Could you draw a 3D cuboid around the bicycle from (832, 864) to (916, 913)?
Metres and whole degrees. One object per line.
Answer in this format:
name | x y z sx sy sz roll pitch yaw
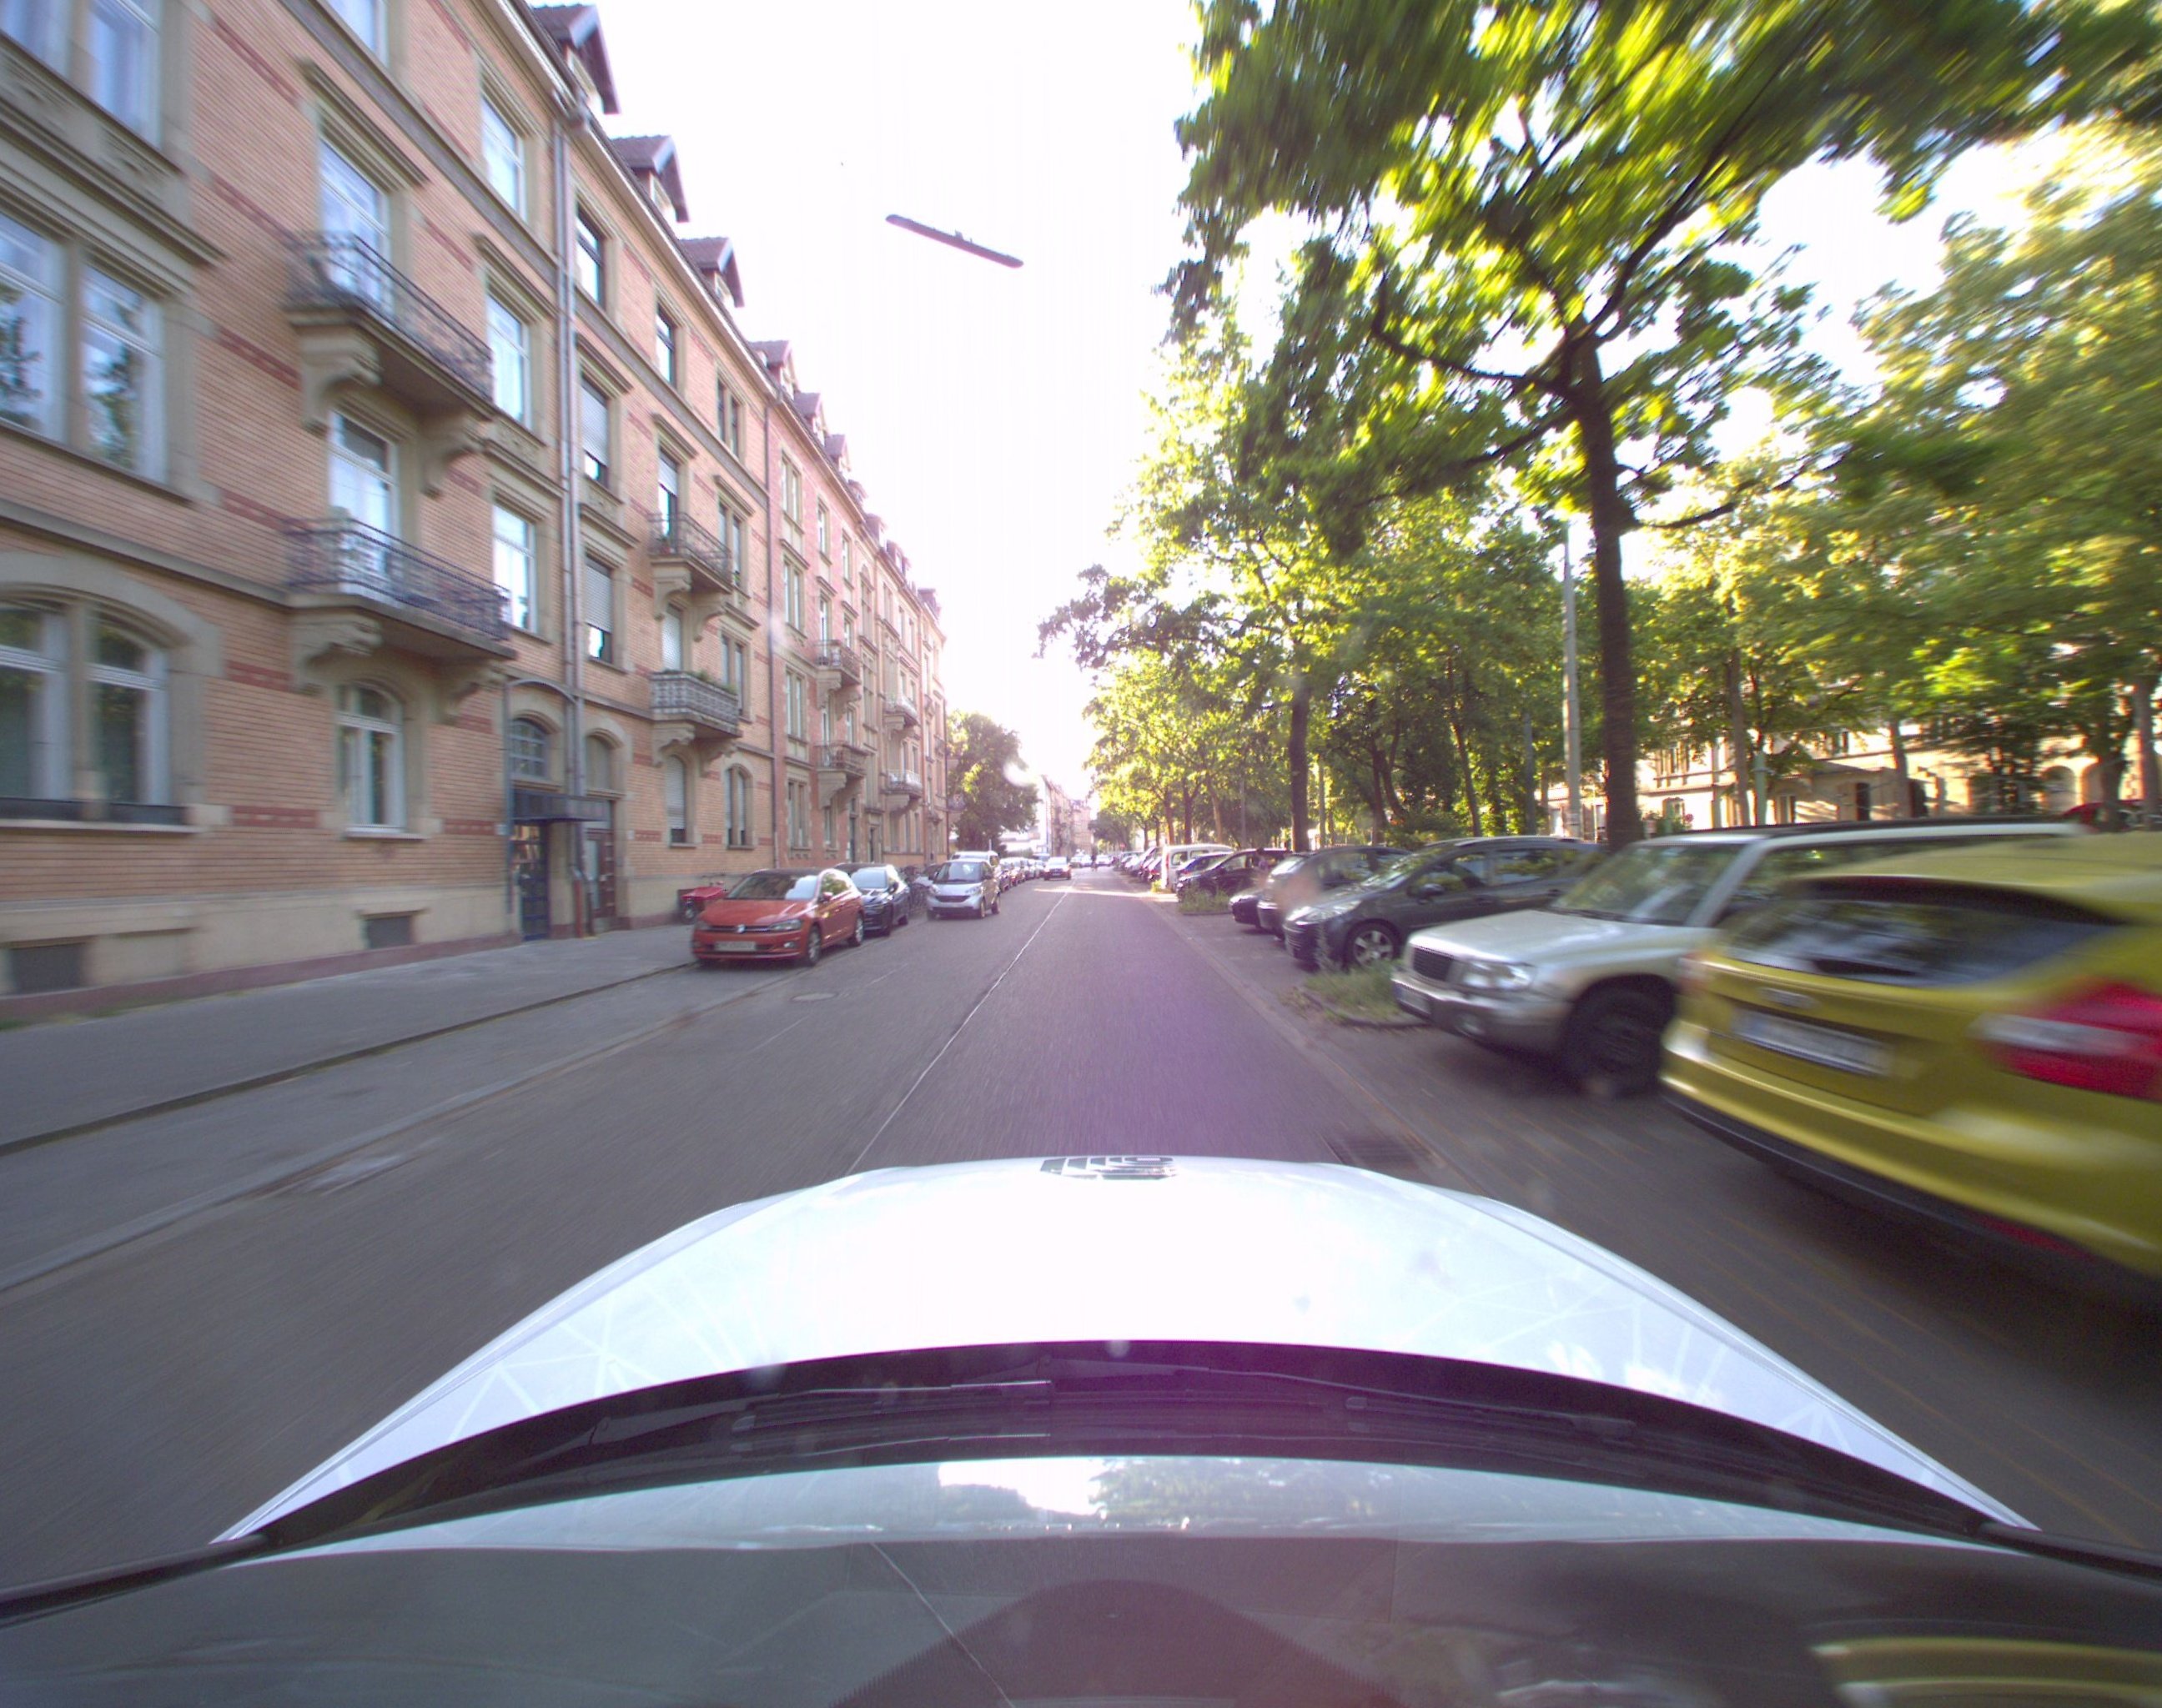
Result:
bicycle | -5.373 0.891 21.192 2.091 1.215 0.439 0 -2 -15

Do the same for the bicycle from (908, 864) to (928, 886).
bicycle | -8.555 1.108 42.859 0.703 1.147 1.888 -1 -2 -2

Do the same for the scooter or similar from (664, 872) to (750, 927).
scooter or similar | -9.014 1.069 19.777 0.780 1.222 2.704 -1 -2 1

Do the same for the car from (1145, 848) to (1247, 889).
car | 4.921 0.619 35.236 4.200 1.453 1.651 -4 0 5

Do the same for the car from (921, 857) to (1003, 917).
car | -3.139 0.845 22.001 1.497 1.435 2.757 -3 0 6

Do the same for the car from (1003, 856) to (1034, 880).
car | -4.207 0.936 55.452 1.751 1.515 4.161 -1 0 0

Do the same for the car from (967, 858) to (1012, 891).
car | -4.284 0.940 38.767 1.664 1.486 4.000 0 0 0

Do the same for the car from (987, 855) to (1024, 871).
car | -8.768 1.042 94.623 3.971 1.706 2.001 -1 -2 2

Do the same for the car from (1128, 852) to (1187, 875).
car | 5.398 0.699 57.763 3.976 1.548 1.857 -1 -2 -2

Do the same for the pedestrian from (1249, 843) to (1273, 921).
pedestrian | 3.776 0.571 17.038 0.377 1.584 0.522 -2 2 20

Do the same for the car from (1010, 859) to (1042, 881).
car | -4.013 1.154 59.970 1.748 1.466 4.272 -1 0 4

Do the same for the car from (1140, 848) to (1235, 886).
car | 4.924 0.595 38.132 4.204 1.453 1.865 -4 0 2

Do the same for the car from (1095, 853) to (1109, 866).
car | 2.695 0.690 106.762 1.772 1.674 4.486 -1 0 0

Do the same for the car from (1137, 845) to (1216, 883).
car | 5.011 0.526 43.209 3.972 1.691 1.860 -4 0 2

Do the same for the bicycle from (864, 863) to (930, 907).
bicycle | -5.220 0.886 23.134 1.757 1.215 0.428 -1 -2 0

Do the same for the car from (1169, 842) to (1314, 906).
car | 4.402 0.538 22.766 3.660 1.501 1.762 -4 0 2

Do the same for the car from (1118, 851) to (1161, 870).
car | 5.605 0.625 78.054 3.976 1.794 1.857 -1 -2 -2

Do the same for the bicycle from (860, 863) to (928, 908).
bicycle | -5.180 0.869 22.622 1.757 1.215 0.464 -1 -2 0

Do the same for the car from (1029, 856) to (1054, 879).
car | -3.553 1.189 74.161 1.951 2.018 4.268 -1 0 1

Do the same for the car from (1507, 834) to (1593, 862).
car | 30.499 -0.352 53.110 4.657 1.684 2.011 -2 -2 24

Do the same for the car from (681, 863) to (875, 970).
car | -4.784 0.905 13.519 1.748 1.464 3.998 1 0 -1

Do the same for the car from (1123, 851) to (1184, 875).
car | 5.341 0.669 60.381 4.378 1.700 1.857 -1 -2 -2

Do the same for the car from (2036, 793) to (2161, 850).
car | 41.252 -1.234 32.209 1.996 2.014 3.981 0 -2 -13

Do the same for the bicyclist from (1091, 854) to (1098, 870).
bicyclist | 1.350 0.826 83.843 0.626 1.573 0.800 -1 -2 -5

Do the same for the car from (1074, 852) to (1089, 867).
car | 0.034 0.731 109.933 1.987 1.838 3.999 -1 -2 0

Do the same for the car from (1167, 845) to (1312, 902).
car | 4.860 0.583 25.319 4.070 1.442 1.760 -4 0 -2

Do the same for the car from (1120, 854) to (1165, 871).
car | 5.642 0.801 75.377 3.976 1.563 1.857 -1 -2 -2

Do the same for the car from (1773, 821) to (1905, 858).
car | 39.262 -0.703 42.351 1.995 1.687 4.717 0 -2 -13

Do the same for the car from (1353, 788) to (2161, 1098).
car | 4.402 0.515 5.619 4.385 1.591 1.837 -3 -1 0

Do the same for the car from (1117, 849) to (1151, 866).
car | 6.780 0.496 104.010 3.960 2.014 2.006 -1 -2 12

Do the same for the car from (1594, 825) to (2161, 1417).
car | 4.610 0.590 2.858 4.381 1.440 1.839 -3 -1 3

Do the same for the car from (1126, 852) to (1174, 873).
car | 5.963 0.737 70.403 3.976 1.700 1.857 -1 -2 -2

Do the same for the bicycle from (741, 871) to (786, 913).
bicycle | -8.890 1.045 22.860 0.425 1.130 1.771 -1 -2 4

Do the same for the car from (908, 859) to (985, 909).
car | -4.456 0.958 27.576 1.668 1.454 4.212 -3 0 2

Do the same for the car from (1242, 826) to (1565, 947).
car | 4.997 0.486 12.992 4.391 1.591 1.835 -3 -1 -4

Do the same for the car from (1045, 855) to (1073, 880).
car | -1.420 0.863 53.824 1.663 1.464 4.000 -3 0 0

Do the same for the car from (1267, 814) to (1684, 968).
car | 4.782 0.449 10.393 4.383 1.591 1.838 -3 -1 1

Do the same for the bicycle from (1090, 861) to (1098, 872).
bicycle | 1.347 1.323 83.835 0.640 1.100 1.940 -1 -2 -5

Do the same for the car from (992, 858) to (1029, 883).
car | -4.255 0.943 49.438 1.697 1.429 3.880 0 0 3

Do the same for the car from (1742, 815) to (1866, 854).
car | 33.621 -0.879 37.966 3.973 1.684 2.000 -1 -2 1

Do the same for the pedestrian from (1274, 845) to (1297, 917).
pedestrian | 4.416 0.572 17.571 0.377 1.516 0.522 -2 2 20

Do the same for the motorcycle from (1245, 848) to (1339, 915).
motorcycle | 4.786 0.632 18.635 1.853 1.462 1.264 -1 -2 2

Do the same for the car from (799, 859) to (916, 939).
car | -4.773 0.883 17.962 1.744 1.546 4.144 0 -1 -5

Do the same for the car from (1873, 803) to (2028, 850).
car | 34.427 -1.071 32.329 3.973 1.684 2.000 -1 -2 1

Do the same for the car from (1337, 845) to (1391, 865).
car | 26.844 0.106 77.378 4.657 1.684 2.011 -2 -2 23

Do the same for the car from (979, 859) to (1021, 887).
car | -4.324 0.991 44.001 1.664 1.429 4.242 -1 0 2

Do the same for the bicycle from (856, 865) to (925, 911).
bicycle | -5.172 0.913 22.105 1.757 1.215 0.441 -1 -2 0

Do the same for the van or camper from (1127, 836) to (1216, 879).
van or camper | 5.246 0.238 47.772 4.967 2.377 2.184 -1 -2 -1

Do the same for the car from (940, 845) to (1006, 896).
car | -4.294 0.707 33.245 1.987 1.921 5.038 -1 -2 0

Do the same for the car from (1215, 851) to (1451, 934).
car | 4.552 0.679 15.118 3.830 1.279 1.690 -3 0 0

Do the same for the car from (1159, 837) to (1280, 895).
car | 5.121 0.444 30.606 4.204 1.864 1.762 -4 0 2

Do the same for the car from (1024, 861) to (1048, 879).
car | -3.778 1.332 68.626 1.750 1.466 4.268 -1 0 1

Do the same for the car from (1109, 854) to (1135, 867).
car | 6.791 1.120 135.540 3.960 2.014 2.006 -1 -2 12
